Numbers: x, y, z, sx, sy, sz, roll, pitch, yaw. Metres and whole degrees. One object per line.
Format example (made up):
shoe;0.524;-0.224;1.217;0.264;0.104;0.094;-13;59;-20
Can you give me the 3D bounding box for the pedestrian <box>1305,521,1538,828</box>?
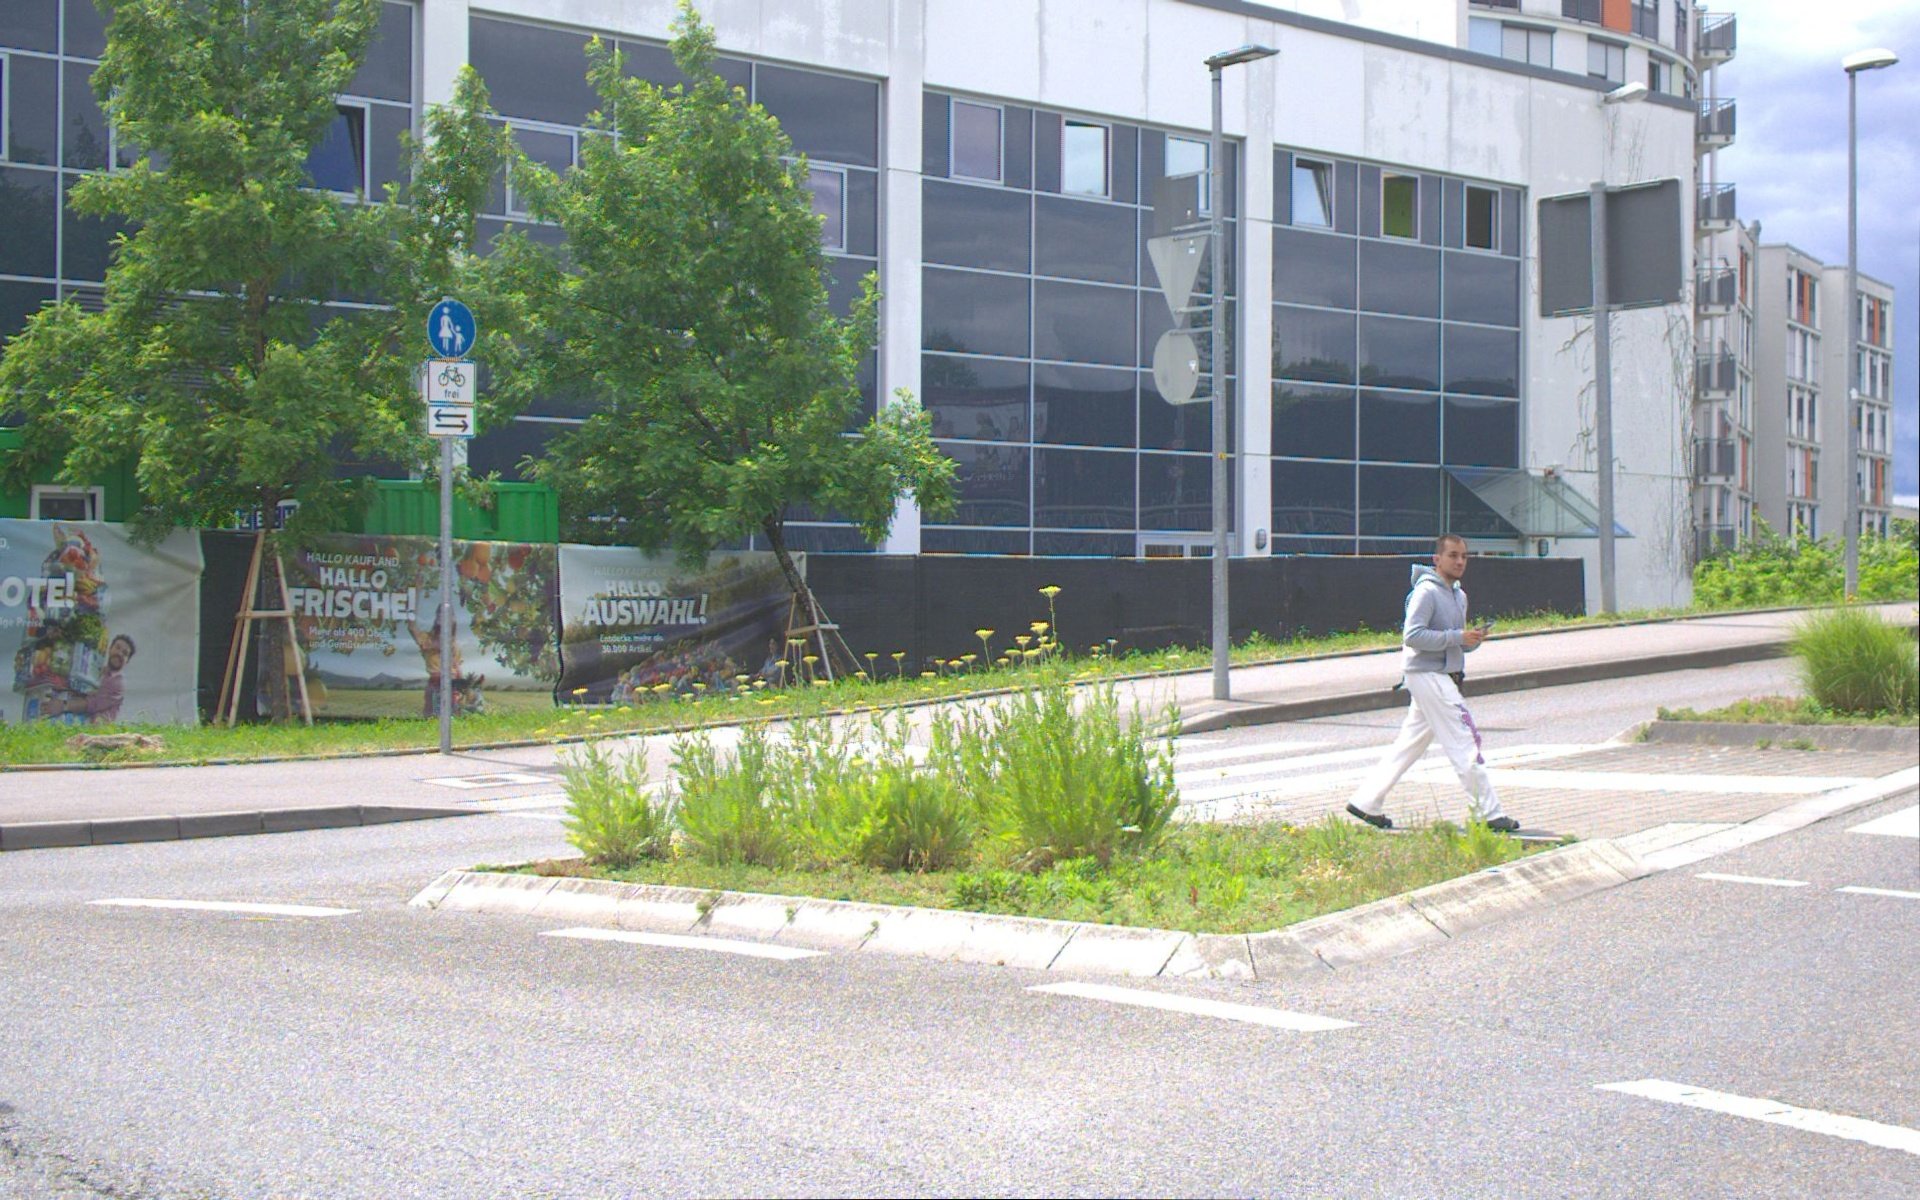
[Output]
pedestrian;2.398;0.385;17.967;1.034;1.536;0.895;2;-1;-2
